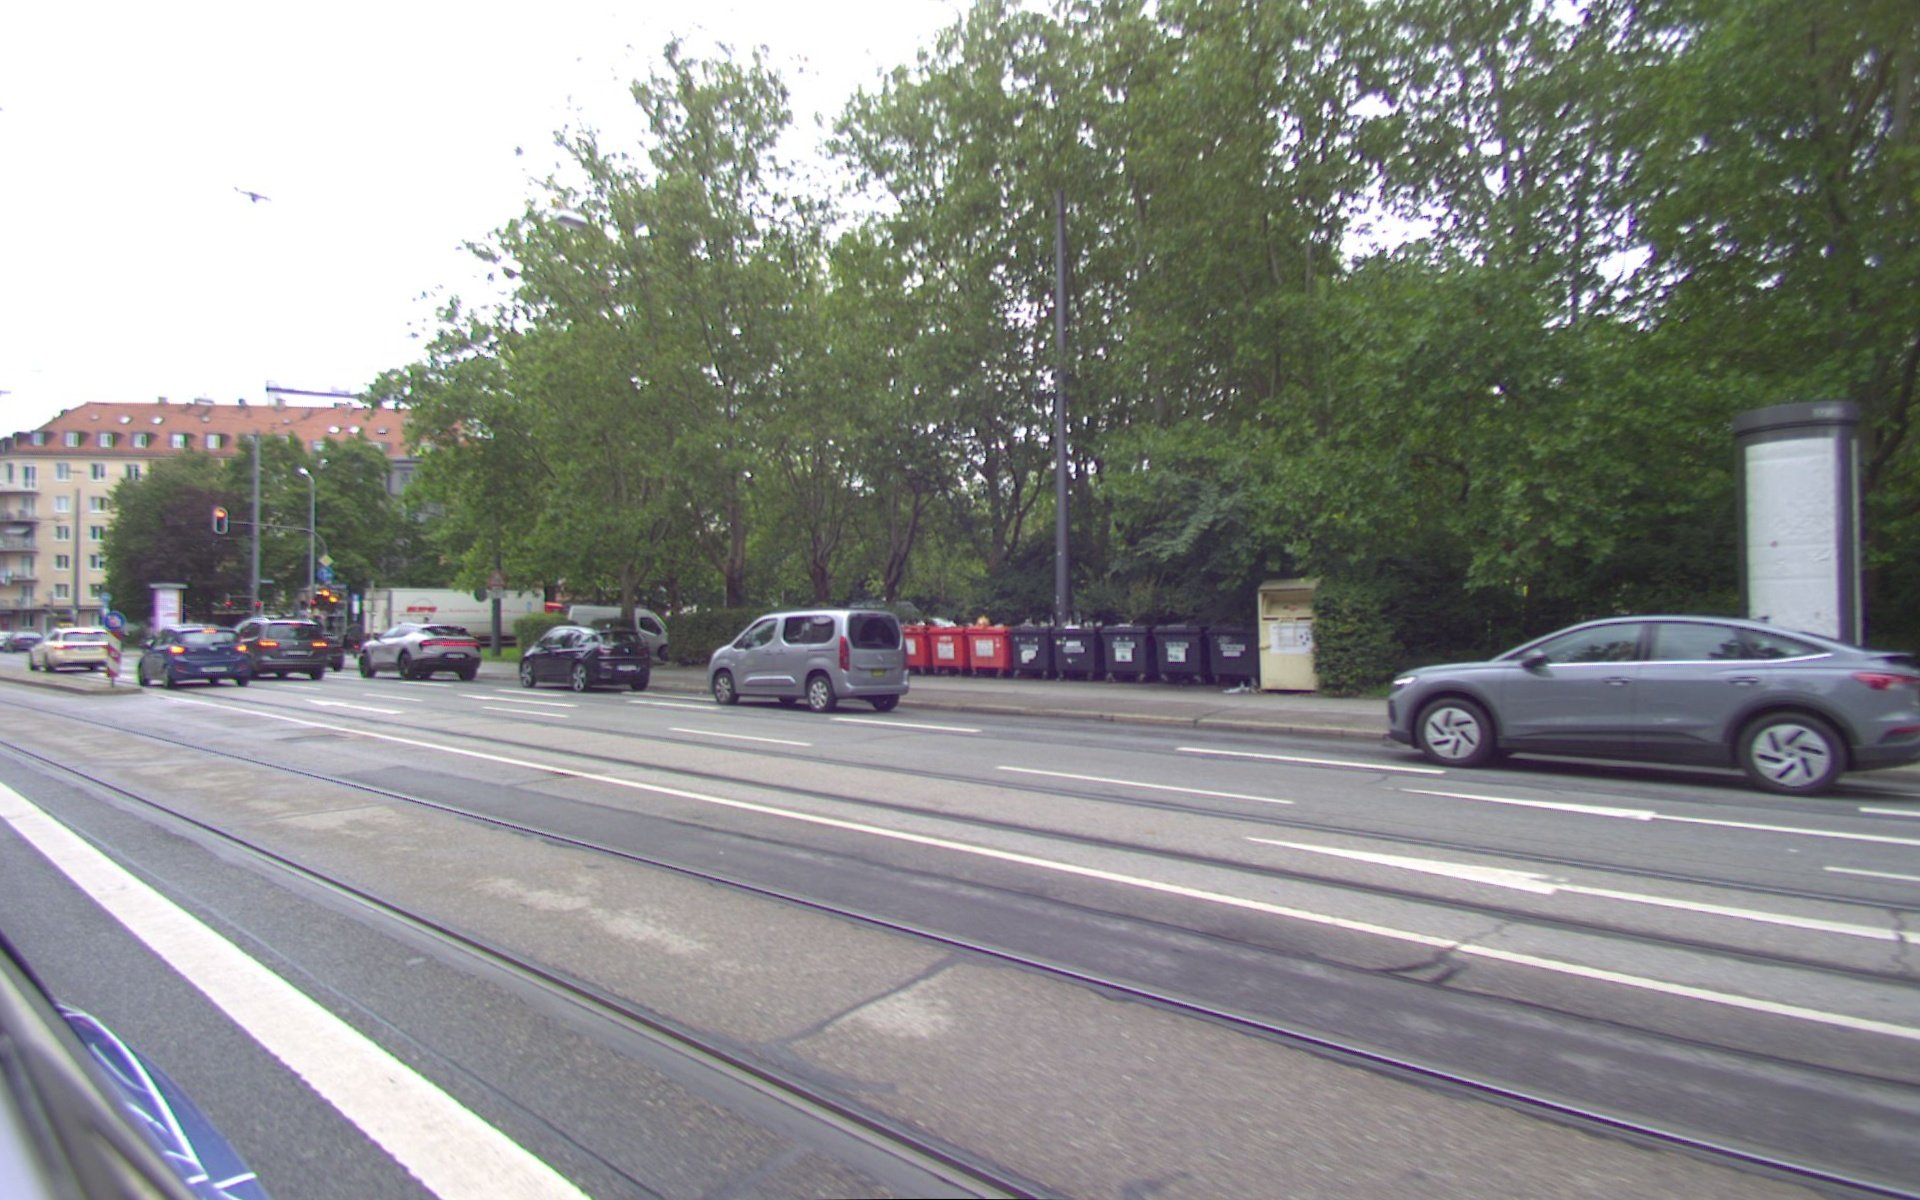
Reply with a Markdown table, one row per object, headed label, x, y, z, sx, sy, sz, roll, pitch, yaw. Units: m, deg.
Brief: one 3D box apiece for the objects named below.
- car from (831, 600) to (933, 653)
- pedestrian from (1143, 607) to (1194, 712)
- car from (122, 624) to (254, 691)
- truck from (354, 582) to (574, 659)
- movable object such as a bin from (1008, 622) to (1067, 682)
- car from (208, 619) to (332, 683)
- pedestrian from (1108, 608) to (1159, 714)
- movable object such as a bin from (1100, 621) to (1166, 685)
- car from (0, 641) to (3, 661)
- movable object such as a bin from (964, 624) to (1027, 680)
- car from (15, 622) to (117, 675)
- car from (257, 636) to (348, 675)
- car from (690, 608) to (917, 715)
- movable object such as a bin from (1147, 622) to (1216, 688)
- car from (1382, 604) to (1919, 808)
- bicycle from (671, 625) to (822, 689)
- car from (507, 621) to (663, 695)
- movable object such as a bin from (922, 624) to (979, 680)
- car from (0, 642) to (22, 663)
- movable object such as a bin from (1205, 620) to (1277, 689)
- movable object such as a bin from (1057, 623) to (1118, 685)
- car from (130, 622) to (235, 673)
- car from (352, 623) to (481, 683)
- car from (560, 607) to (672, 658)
| label | x | y | z | sx | sy | sz | roll | pitch | yaw |
| --- | --- | --- | --- | --- | --- | --- | --- | --- | --- |
| car | -4.267 | 1.473 | 54.385 | 5.864 | 2.554 | 1.971 | -5 | -4 | 43 |
| pedestrian | 4.130 | 1.177 | 20.083 | 0.606 | 2.029 | 0.680 | 0 | -4 | -42 |
| car | -19.333 | 1.379 | 25.277 | 4.352 | 1.534 | 1.780 | -1 | -3 | 41 |
| truck | -28.126 | 1.345 | 58.316 | 2.740 | 4.011 | 11.584 | -1 | -3 | 33 |
| movable object such as a bin | 1.906 | 1.271 | 24.858 | 1.081 | 1.363 | 0.926 | -2 | 2 | 37 |
| car | -20.161 | 1.455 | 29.481 | 4.888 | 1.696 | 1.803 | -2 | -3 | 41 |
| pedestrian | 3.403 | 1.195 | 19.886 | 0.607 | 2.029 | 0.680 | 1 | -4 | -43 |
| movable object such as a bin | 3.923 | 1.188 | 22.975 | 1.156 | 1.363 | 0.926 | -2 | 0 | 37 |
| car | -71.545 | 3.698 | 73.848 | 4.366 | 1.418 | 1.710 | -2 | -2 | 36 |
| movable object such as a bin | 0.899 | 1.299 | 25.656 | 1.275 | 1.363 | 0.925 | -2 | -1 | 37 |
| car | -30.085 | 1.613 | 34.016 | 4.886 | 1.651 | 1.804 | -2 | -3 | 39 |
| car | -24.714 | 2.049 | 38.005 | 4.096 | 1.391 | 1.803 | -2 | -3 | 41 |
| car | -3.031 | 1.113 | 19.086 | 4.470 | 1.793 | 1.780 | -2 | -3 | 41 |
| movable object such as a bin | 4.832 | 1.180 | 22.096 | 1.156 | 1.363 | 0.926 | -2 | 0 | 37 |
| car | 6.884 | 0.930 | 10.138 | 4.586 | 1.647 | 1.780 | -2 | -3 | 41 |
| bicycle | -5.445 | 1.462 | 25.615 | 3.994 | 1.479 | 1.510 | -4 | -3 | 38 |
| car | -9.360 | 1.392 | 25.104 | 4.352 | 1.679 | 1.780 | -2 | -3 | 41 |
| movable object such as a bin | -0.252 | 1.352 | 26.494 | 1.127 | 1.363 | 0.926 | -2 | 1 | 37 |
| car | -67.216 | 3.647 | 70.648 | 4.366 | 1.418 | 1.710 | -2 | -2 | 36 |
| movable object such as a bin | 5.901 | 1.123 | 21.254 | 1.156 | 1.363 | 0.926 | -2 | 0 | 37 |
| movable object such as a bin | 3.001 | 1.256 | 23.804 | 1.081 | 1.363 | 0.926 | -2 | 0 | 37 |
| car | -27.508 | 1.661 | 35.753 | 4.886 | 1.696 | 1.896 | -2 | -3 | 39 |
| car | -16.445 | 1.565 | 30.530 | 4.997 | 1.655 | 1.780 | -2 | -3 | 41 |
| car | -16.159 | 1.562 | 47.774 | 4.555 | 2.029 | 2.003 | 5 | -4 | -8 |
